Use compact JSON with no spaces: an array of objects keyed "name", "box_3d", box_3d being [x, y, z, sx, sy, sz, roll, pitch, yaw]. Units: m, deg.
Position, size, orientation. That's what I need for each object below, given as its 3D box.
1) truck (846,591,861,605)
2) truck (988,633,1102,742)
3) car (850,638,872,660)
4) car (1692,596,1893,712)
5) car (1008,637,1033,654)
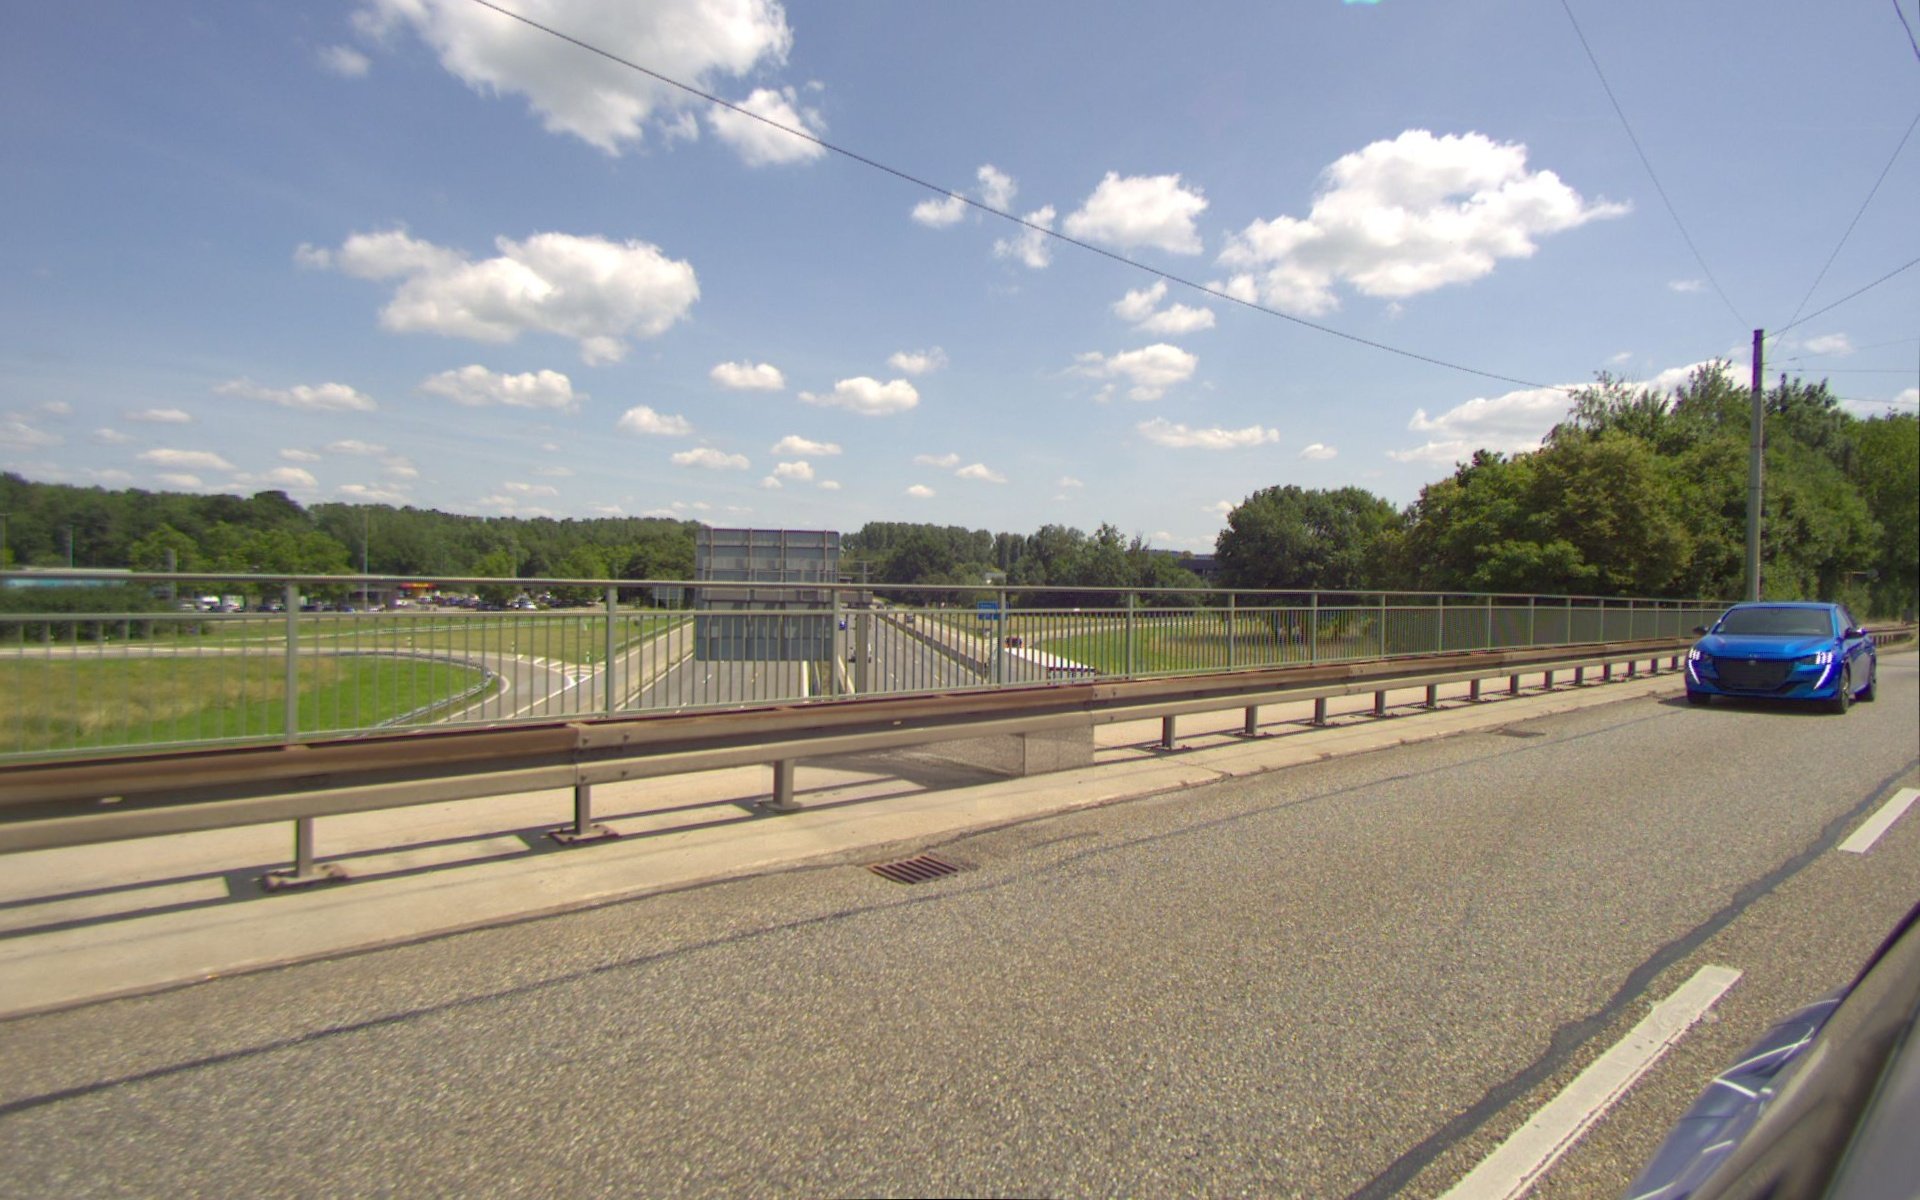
[{"name":"truck","box_3d":[-26.537,-0.499,252.539,3.300,3.483,6.964,0,0,-9]},{"name":"truck","box_3d":[4.376,4.511,56.767,2.774,4.271,14.816,-1,2,-9]},{"name":"car","box_3d":[-9.382,4.620,96.124,1.780,1.883,4.007,0,0,-10]},{"name":"car","box_3d":[11.896,0.659,14.385,3.679,1.423,1.658,0,0,-41]},{"name":"car","box_3d":[6.756,5.152,114.098,1.963,1.817,4.004,-2,-3,-8]}]
